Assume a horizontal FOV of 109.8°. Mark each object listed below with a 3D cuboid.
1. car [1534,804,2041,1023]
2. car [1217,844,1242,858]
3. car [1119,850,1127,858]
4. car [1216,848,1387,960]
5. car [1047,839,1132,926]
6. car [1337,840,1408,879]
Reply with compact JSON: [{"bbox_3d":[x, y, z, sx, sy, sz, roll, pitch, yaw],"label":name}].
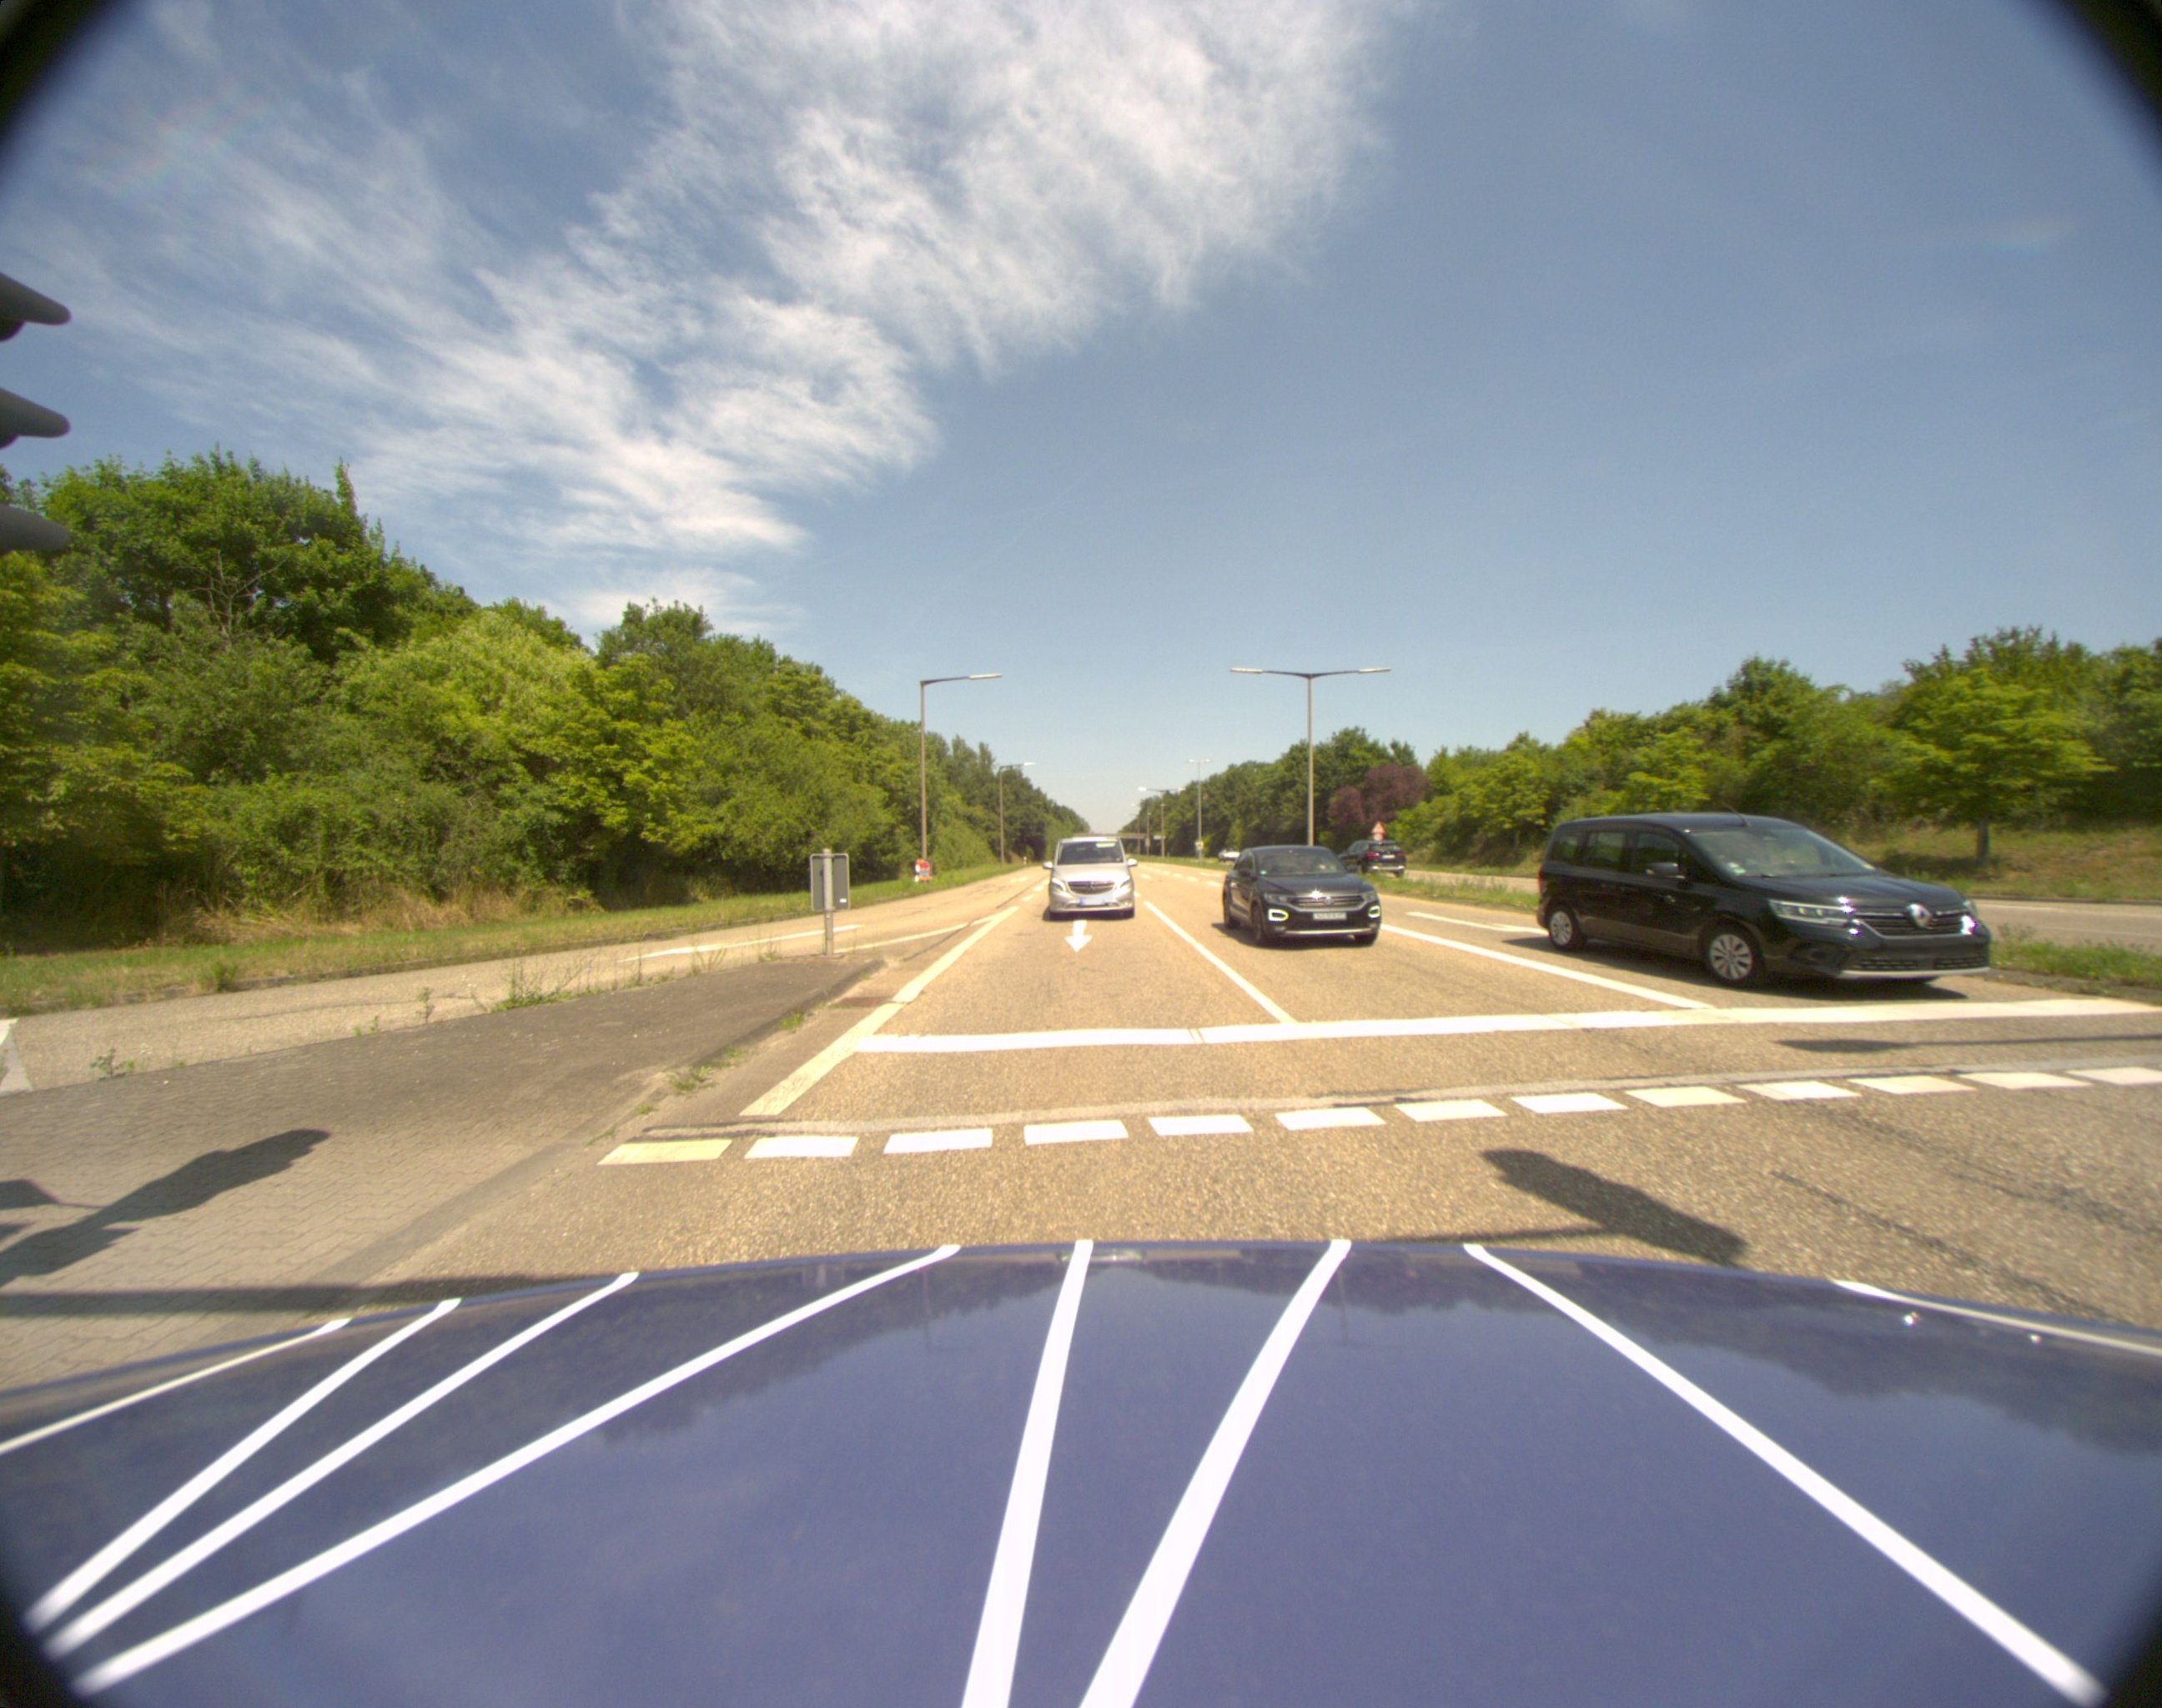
[{"bbox_3d":[7.238,0.483,8.564,1.735,1.815,4.321,-1,1,1],"label":"car"},{"bbox_3d":[16.062,-0.323,82.389,1.827,1.447,4.167,-1,1,-1],"label":"car"},{"bbox_3d":[10.054,0.021,184.112,1.735,1.815,4.321,-1,1,1],"label":"car"},{"bbox_3d":[3.470,0.699,12.734,1.739,1.503,3.970,-2,1,1],"label":"car"},{"bbox_3d":[0.228,0.578,18.710,1.764,1.795,4.855,-2,1,1],"label":"car"},{"bbox_3d":[13.171,0.205,34.622,1.711,1.653,4.222,-1,1,1],"label":"car"}]
